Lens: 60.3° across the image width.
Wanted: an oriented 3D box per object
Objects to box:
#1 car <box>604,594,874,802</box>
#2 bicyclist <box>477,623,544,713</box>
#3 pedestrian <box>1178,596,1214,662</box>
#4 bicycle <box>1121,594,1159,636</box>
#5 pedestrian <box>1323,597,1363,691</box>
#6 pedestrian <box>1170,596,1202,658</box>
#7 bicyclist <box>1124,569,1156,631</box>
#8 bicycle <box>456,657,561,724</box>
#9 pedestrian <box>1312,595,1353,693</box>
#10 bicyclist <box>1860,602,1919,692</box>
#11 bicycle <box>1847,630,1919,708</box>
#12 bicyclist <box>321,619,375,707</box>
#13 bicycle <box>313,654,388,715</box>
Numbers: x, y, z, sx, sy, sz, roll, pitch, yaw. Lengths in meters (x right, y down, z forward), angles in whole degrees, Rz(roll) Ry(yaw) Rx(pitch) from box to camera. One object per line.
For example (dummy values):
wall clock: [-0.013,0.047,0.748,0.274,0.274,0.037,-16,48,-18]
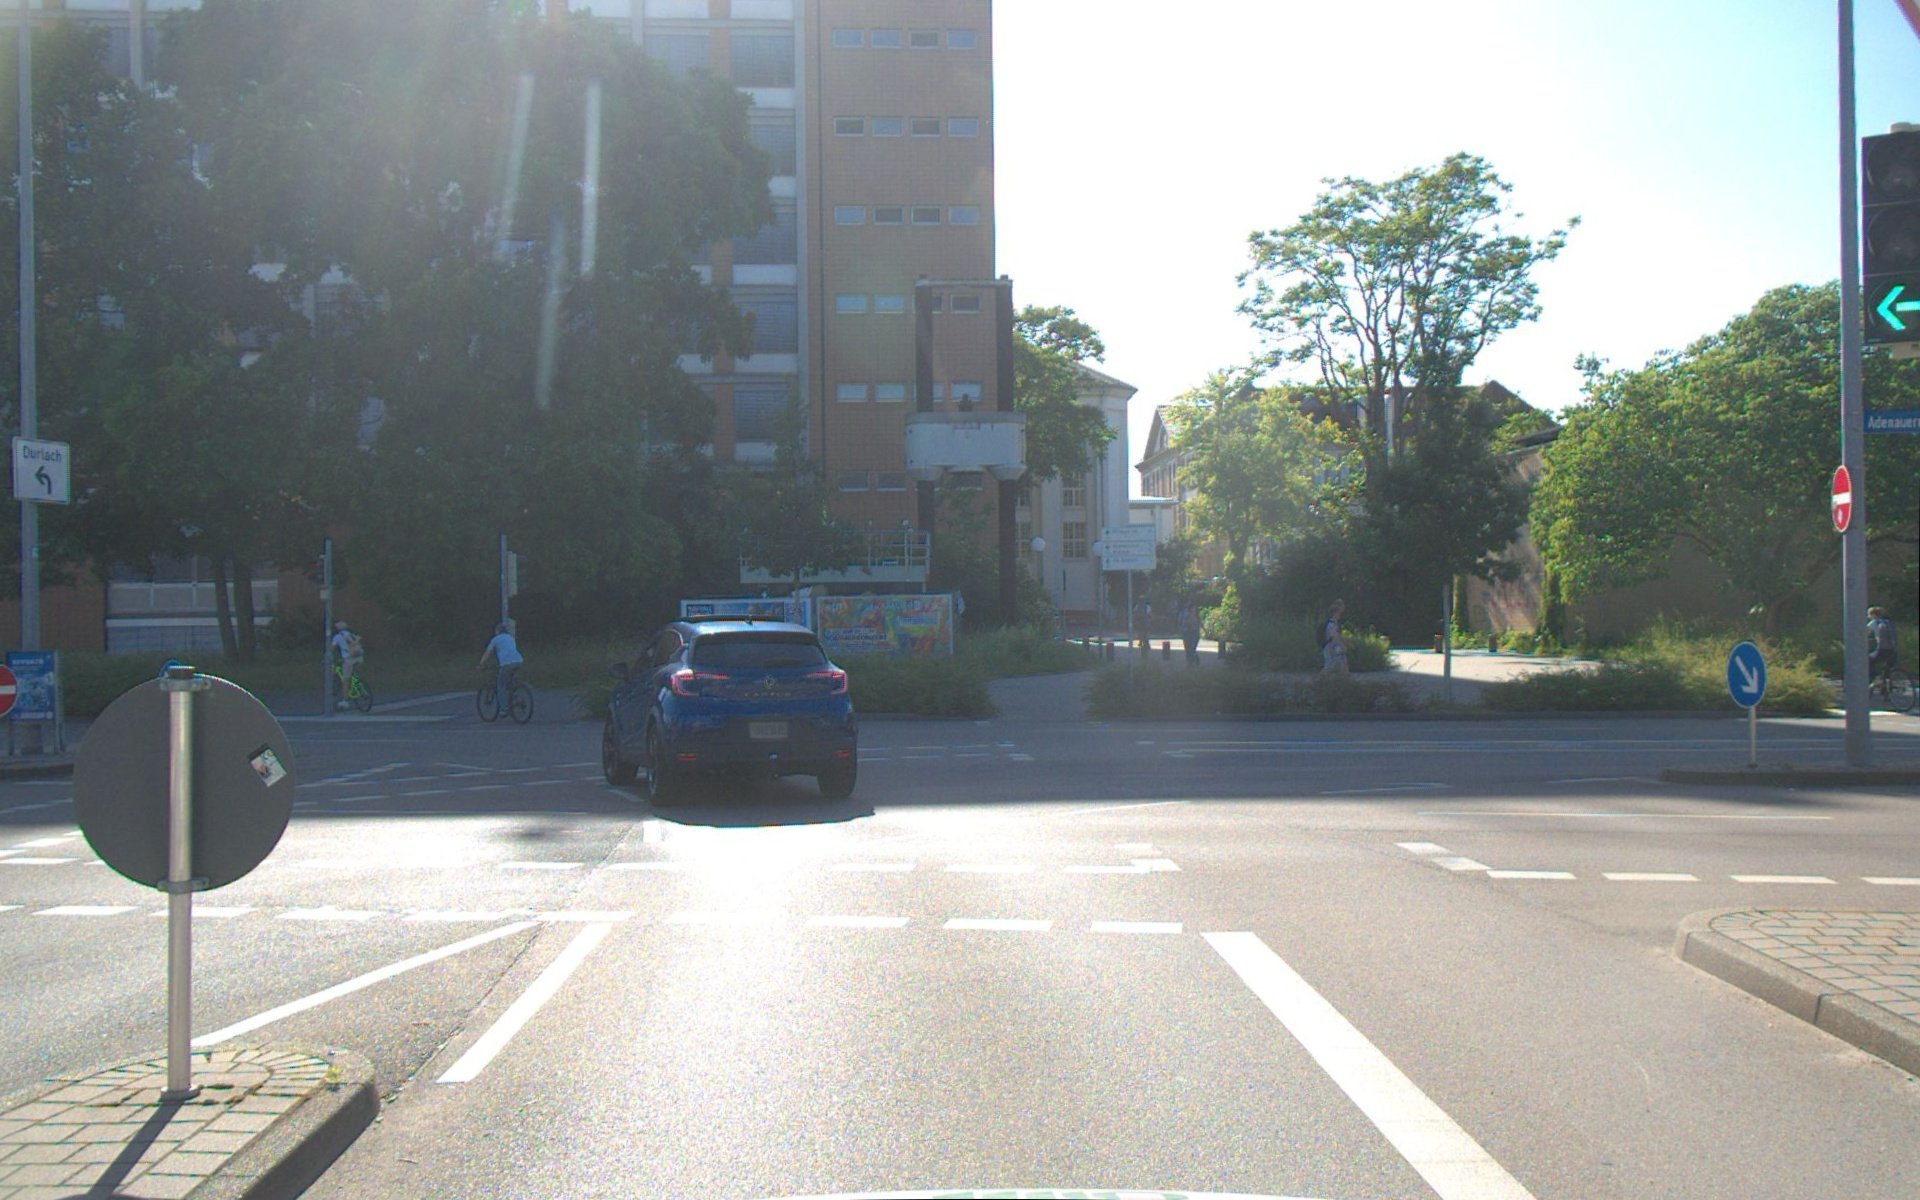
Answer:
car: [-2.195,0.925,15.471,1.847,1.646,3.777,-1,-4,-18]
bicyclist: [-8.398,1.258,30.900,0.955,1.645,0.722,-1,0,24]
pedestrian: [6.075,0.747,42.581,0.663,1.672,0.734,1,-1,30]
bicycle: [5.214,0.423,47.786,0.730,1.185,1.871,-1,0,18]
pedestrian: [7.585,0.862,32.752,0.718,1.813,0.732,1,-1,15]
pedestrian: [6.200,0.740,45.411,0.662,1.672,0.735,1,-1,25]
bicyclist: [5.202,-0.003,47.782,0.704,1.765,0.978,-1,0,18]
bicycle: [-8.441,1.677,30.919,1.826,1.185,0.718,-1,0,23]
pedestrian: [7.201,0.835,31.956,0.718,1.848,0.732,1,-1,15]
bicyclist: [15.749,0.785,28.006,0.627,1.469,0.777,-1,1,6]
bicycle: [15.754,1.142,27.983,0.627,1.185,1.872,-1,1,6]
bicyclist: [-12.783,1.309,34.533,0.961,1.793,0.717,-1,-1,44]
bicycle: [-12.720,1.749,34.473,1.838,1.185,0.743,-1,0,44]
